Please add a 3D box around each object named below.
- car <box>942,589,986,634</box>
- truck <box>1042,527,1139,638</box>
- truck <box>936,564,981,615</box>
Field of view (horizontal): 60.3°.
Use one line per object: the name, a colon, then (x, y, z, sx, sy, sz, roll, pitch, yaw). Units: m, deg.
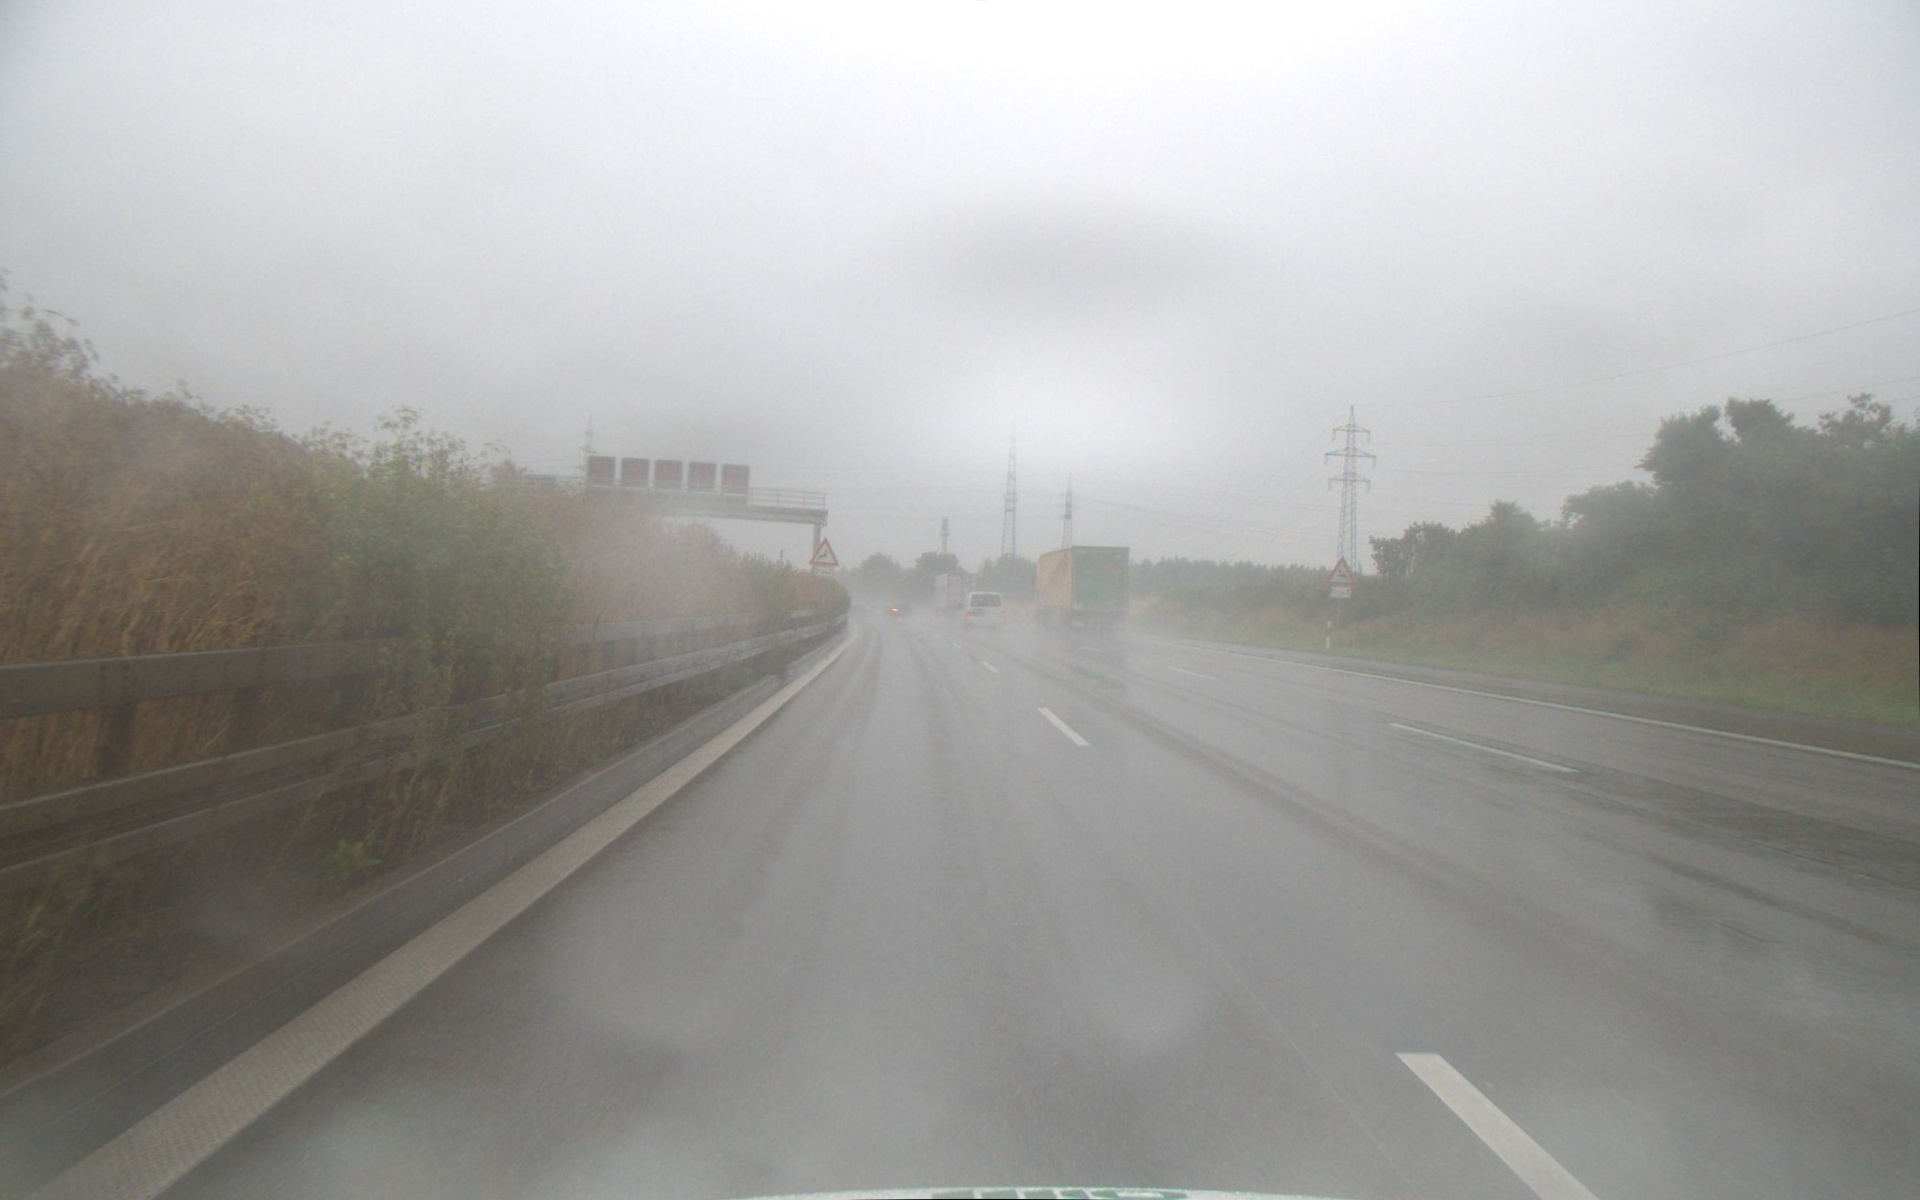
car: (0.197, 0.508, 77.459, 1.952, 2.049, 4.001, 1, 0, 1)
truck: (6.014, -0.728, 79.347, 4.102, 4.711, 16.110, 1, 0, 3)
truck: (-0.199, -0.977, 148.397, 3.170, 4.387, 8.827, 1, 0, -5)
